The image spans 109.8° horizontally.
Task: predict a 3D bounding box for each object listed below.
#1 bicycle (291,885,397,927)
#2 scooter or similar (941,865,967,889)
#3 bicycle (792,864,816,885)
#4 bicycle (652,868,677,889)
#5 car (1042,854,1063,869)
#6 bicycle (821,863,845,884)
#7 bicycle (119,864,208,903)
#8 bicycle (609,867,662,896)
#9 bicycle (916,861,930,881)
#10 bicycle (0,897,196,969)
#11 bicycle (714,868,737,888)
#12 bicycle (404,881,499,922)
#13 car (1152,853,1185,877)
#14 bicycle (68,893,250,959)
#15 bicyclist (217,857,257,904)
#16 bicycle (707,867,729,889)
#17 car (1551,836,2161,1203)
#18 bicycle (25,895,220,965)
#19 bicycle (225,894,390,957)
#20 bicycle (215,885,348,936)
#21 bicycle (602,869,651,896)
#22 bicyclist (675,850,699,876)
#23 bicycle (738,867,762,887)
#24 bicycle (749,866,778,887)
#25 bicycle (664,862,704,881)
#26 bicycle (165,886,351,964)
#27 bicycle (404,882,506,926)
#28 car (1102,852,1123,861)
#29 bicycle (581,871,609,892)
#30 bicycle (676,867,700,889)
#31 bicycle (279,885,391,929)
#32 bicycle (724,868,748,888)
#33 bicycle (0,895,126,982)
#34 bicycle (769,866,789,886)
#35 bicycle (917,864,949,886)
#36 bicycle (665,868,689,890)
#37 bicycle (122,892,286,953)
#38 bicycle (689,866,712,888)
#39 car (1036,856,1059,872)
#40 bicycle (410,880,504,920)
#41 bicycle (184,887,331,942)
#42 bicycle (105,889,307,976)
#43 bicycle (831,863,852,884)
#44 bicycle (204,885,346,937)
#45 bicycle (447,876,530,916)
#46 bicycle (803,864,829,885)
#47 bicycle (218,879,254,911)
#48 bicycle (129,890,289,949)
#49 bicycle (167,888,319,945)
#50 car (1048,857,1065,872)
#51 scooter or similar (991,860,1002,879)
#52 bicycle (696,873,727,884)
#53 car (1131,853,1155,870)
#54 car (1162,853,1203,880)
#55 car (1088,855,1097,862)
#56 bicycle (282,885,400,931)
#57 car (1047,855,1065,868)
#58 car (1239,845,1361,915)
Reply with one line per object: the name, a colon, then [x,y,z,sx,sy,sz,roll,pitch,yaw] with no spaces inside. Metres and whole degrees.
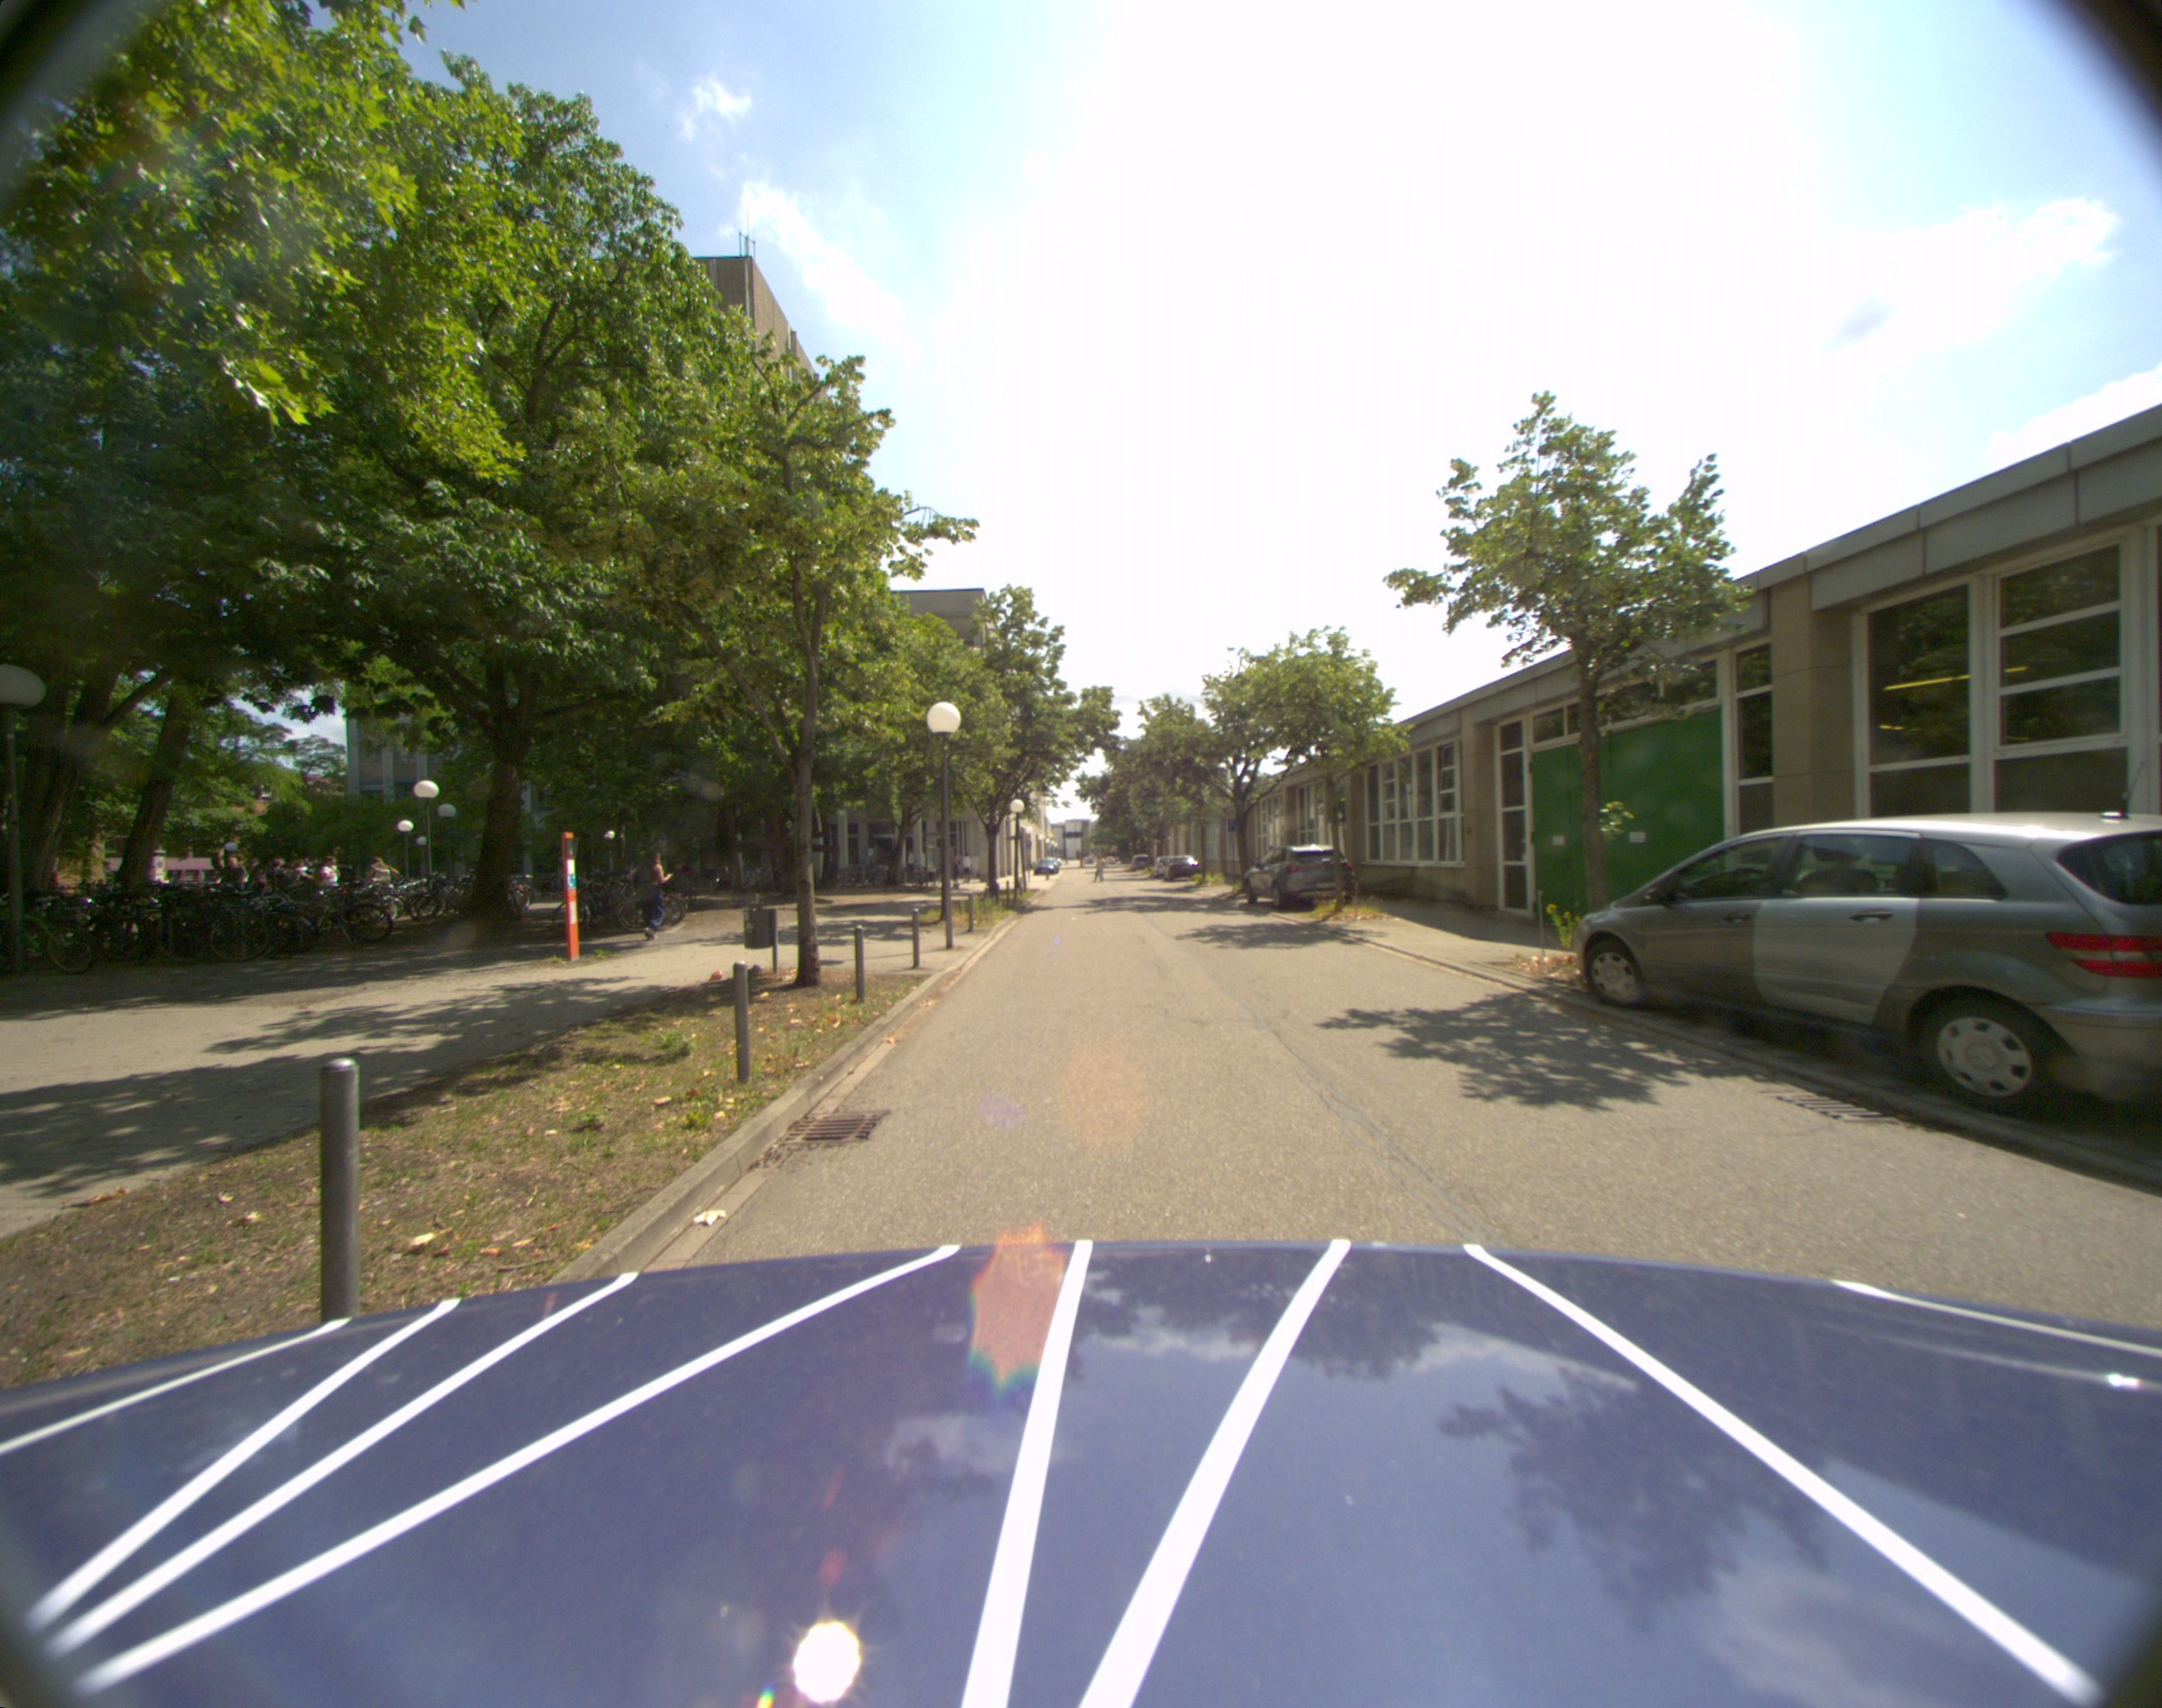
bicycle: [-18.339,1.287,18.943,1.888,0.973,0.305,0,1,-27]
scooter or similar: [-5.953,1.067,35.622,0.496,1.107,1.365,-1,-1,25]
bicycle: [-15.117,1.105,41.533,0.627,1.143,1.697,0,-1,2]
bicycle: [-22.553,1.325,41.175,0.454,1.123,1.688,-4,-1,-5]
car: [-2.702,0.772,73.377,1.843,1.389,3.878,0,-1,0]
bicycle: [-13.568,1.081,41.603,0.565,1.118,1.697,0,-1,6]
bicycle: [-27.328,0.862,22.658,1.614,1.087,0.477,-1,1,-37]
bicycle: [-18.736,1.138,31.965,1.849,1.163,0.412,-1,0,-39]
bicycle: [-10.281,1.120,49.469,0.531,1.235,1.829,-1,1,-1]
bicycle: [-14.859,1.177,11.508,1.905,0.973,0.478,0,1,-19]
bicycle: [-19.304,1.300,41.241,0.501,1.041,1.688,-4,-1,-5]
bicycle: [-16.475,1.231,19.928,1.908,0.973,0.477,-1,1,-40]
car: [5.744,0.701,50.188,1.634,1.440,3.752,-4,0,-1]
bicycle: [-15.352,1.179,12.718,1.906,0.973,0.477,0,1,-25]
bicyclist: [-26.514,0.815,23.882,0.746,1.438,0.801,-1,0,-43]
bicycle: [-19.905,1.297,41.684,0.454,1.123,1.688,-4,-1,-5]
car: [5.569,0.711,5.397,1.762,1.547,4.112,-3,0,-2]
bicycle: [-15.167,1.176,12.089,1.907,0.973,0.420,0,1,-28]
bicycle: [-13.337,1.211,13.175,1.906,0.973,0.611,0,1,-22]
bicycle: [-17.338,1.204,16.534,1.907,0.973,0.535,0,1,-34]
bicycle: [-20.625,1.265,34.507,1.848,1.163,0.435,-1,0,-35]
bicyclist: [-23.919,0.580,46.163,0.958,1.533,0.839,1,-3,2]
bicycle: [-18.006,1.249,41.362,0.617,1.041,1.688,-4,-1,-5]
bicycle: [-17.269,1.229,41.374,0.617,1.041,1.697,-4,-1,8]
bicycle: [-24.095,1.057,46.151,1.929,1.036,0.818,-1,4,2]
bicycle: [-12.947,1.088,12.024,1.906,1.112,0.611,0,1,-22]
bicycle: [-15.665,1.227,19.064,0.477,0.973,1.908,0,1,42]
car: [5.916,0.529,142.255,3.674,1.440,1.804,-4,0,-2]
bicycle: [-26.413,1.486,41.310,0.478,1.077,1.688,-4,-1,-4]
bicycle: [-21.401,1.304,41.417,0.454,1.123,1.688,-4,-1,-5]
bicycle: [-18.115,1.271,18.496,1.906,0.973,0.441,0,1,-23]
bicycle: [-18.724,1.281,41.282,0.617,1.041,1.688,-4,-1,-5]
bicycle: [-14.824,1.175,10.591,1.905,1.136,0.478,0,1,-19]
bicycle: [-16.459,1.180,41.411,0.568,1.041,1.695,-4,-1,-7]
bicycle: [-7.900,1.098,40.628,0.604,1.135,1.790,1,1,33]
bicycle: [-21.984,1.342,41.365,0.454,1.123,1.688,-4,-1,-5]
bicycle: [-15.444,1.186,13.426,1.906,0.973,0.421,0,1,-22]
bicycle: [-20.754,1.258,41.468,0.454,1.123,1.688,-4,-1,-5]
car: [-2.985,0.908,67.675,1.843,1.389,3.878,0,-1,0]
bicycle: [-16.729,1.214,20.404,1.908,0.973,0.477,-1,1,-41]
bicycle: [-16.011,1.160,14.833,1.906,0.973,0.477,0,1,-23]
bicycle: [-12.524,1.099,10.947,1.811,1.112,0.611,0,1,-22]
bicycle: [-13.064,1.081,41.441,0.481,1.118,1.697,0,-1,6]
bicycle: [-16.562,1.159,15.666,1.906,0.973,0.611,0,1,-22]
bicycle: [-17.354,1.207,22.310,1.907,1.076,0.477,-1,1,-36]
bicycle: [-14.408,1.095,41.344,0.627,1.118,1.697,0,-1,6]
bicycle: [-26.545,1.274,23.891,0.588,0.926,1.747,2,-1,-43]
bicycle: [-15.770,1.166,13.792,1.906,0.973,0.421,0,1,-22]
bicycle: [-15.907,1.162,14.470,1.906,0.973,0.477,0,1,-23]
car: [-2.852,1.237,88.188,1.799,1.691,4.000,1,-1,0]
scooter or similar: [-5.756,1.059,51.599,0.564,1.204,1.510,1,1,-1]
bicycle: [-26.938,1.807,55.405,1.989,0.755,0.644,-1,-1,-2]
car: [5.854,0.665,72.277,1.803,1.440,3.676,-4,0,-1]
car: [5.904,0.724,44.594,1.730,1.427,4.289,-3,-1,-1]
car: [2.406,0.996,162.487,1.803,1.440,3.676,-4,0,0]
bicycle: [-17.312,1.242,17.831,1.907,0.973,0.477,0,1,-30]
car: [-2.680,0.877,83.257,1.843,1.389,3.878,0,-1,0]
car: [5.845,0.623,20.914,1.826,1.623,4.516,-3,0,-2]
